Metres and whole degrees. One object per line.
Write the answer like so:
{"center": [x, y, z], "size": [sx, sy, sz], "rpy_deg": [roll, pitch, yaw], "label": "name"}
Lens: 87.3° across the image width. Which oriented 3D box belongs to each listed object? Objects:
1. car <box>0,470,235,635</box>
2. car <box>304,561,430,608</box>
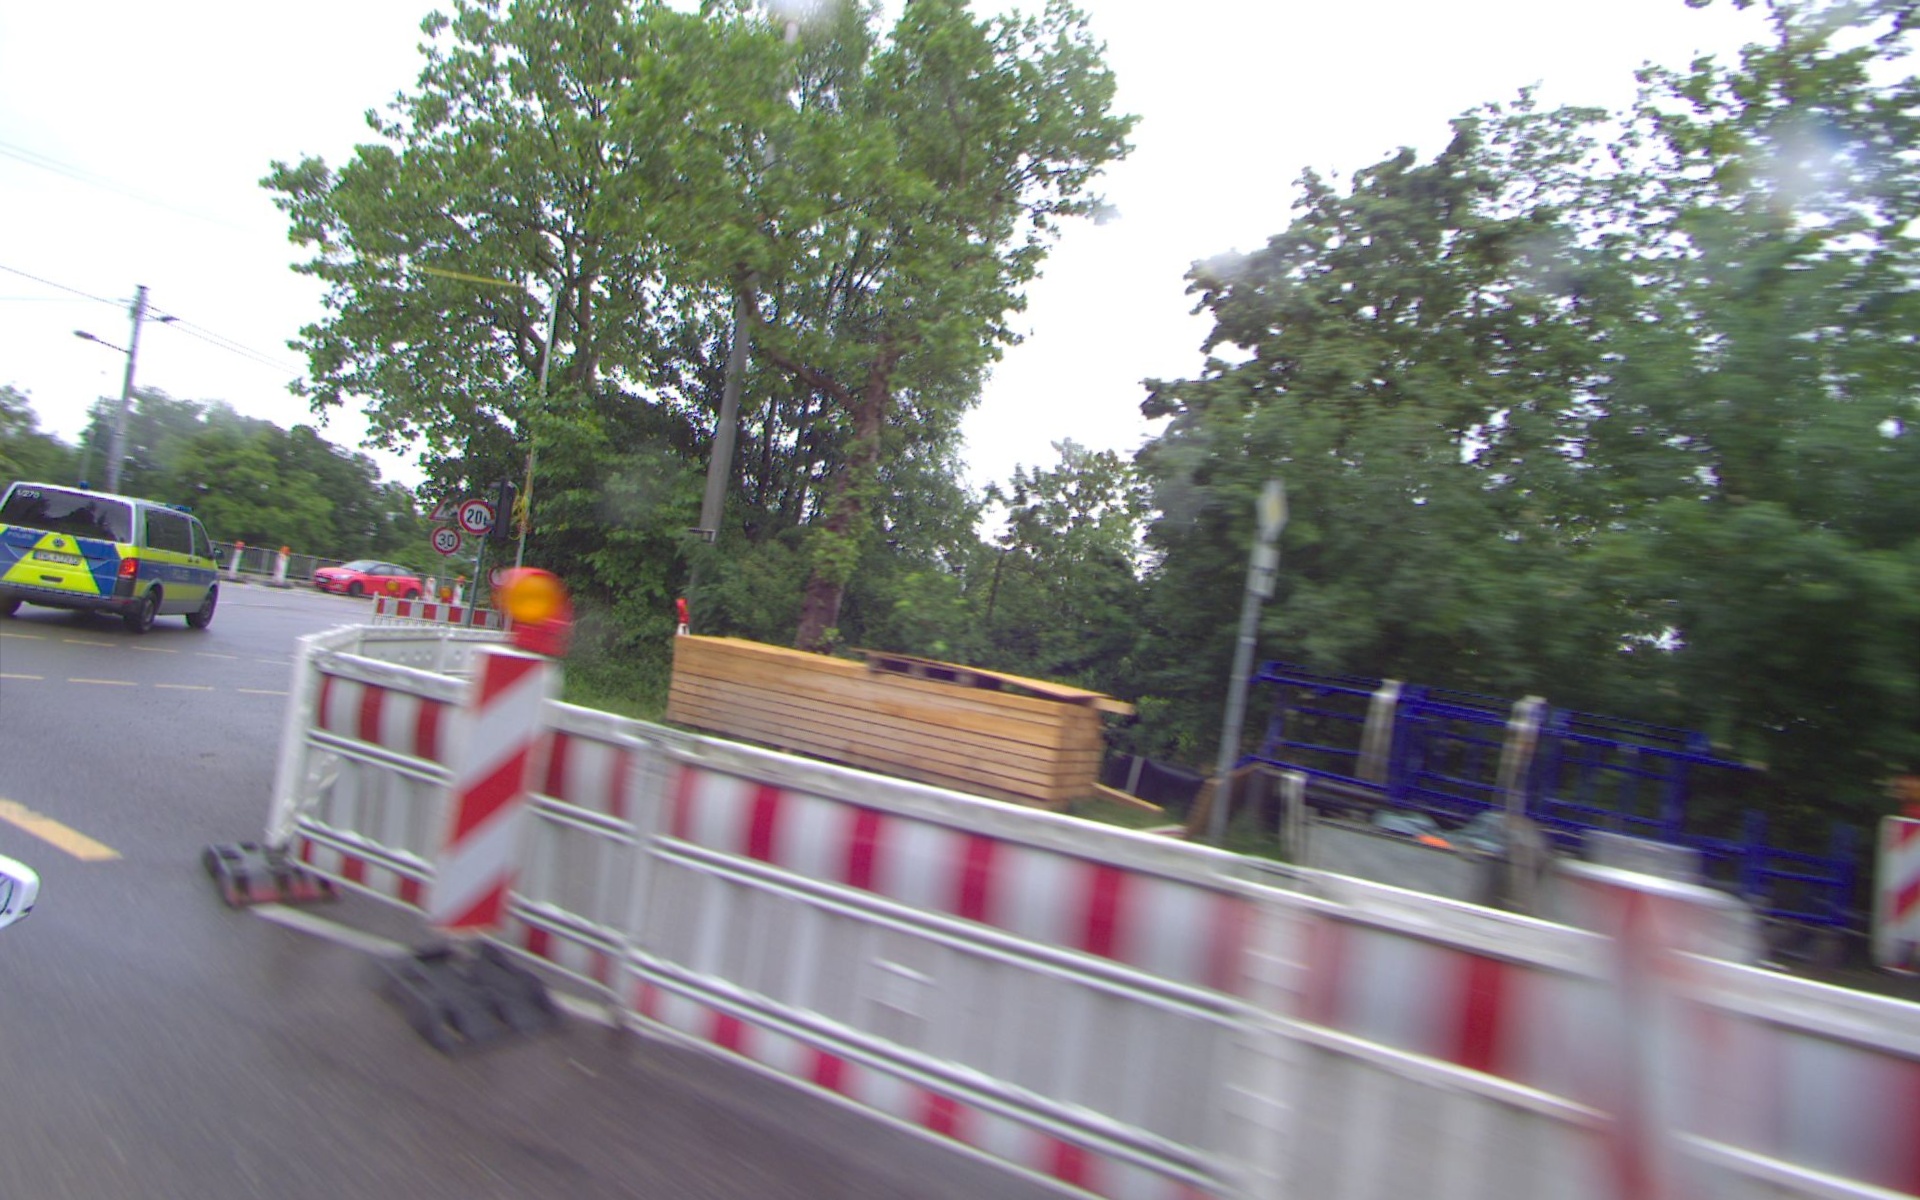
{"center": [-13.430, -0.633, 16.014], "size": [1.890, 2.031, 4.419], "rpy_deg": [9, -4, -23], "label": "car"}
{"center": [-23.398, -0.583, 39.856], "size": [1.764, 1.347, 4.002], "rpy_deg": [7, -2, 20], "label": "car"}
